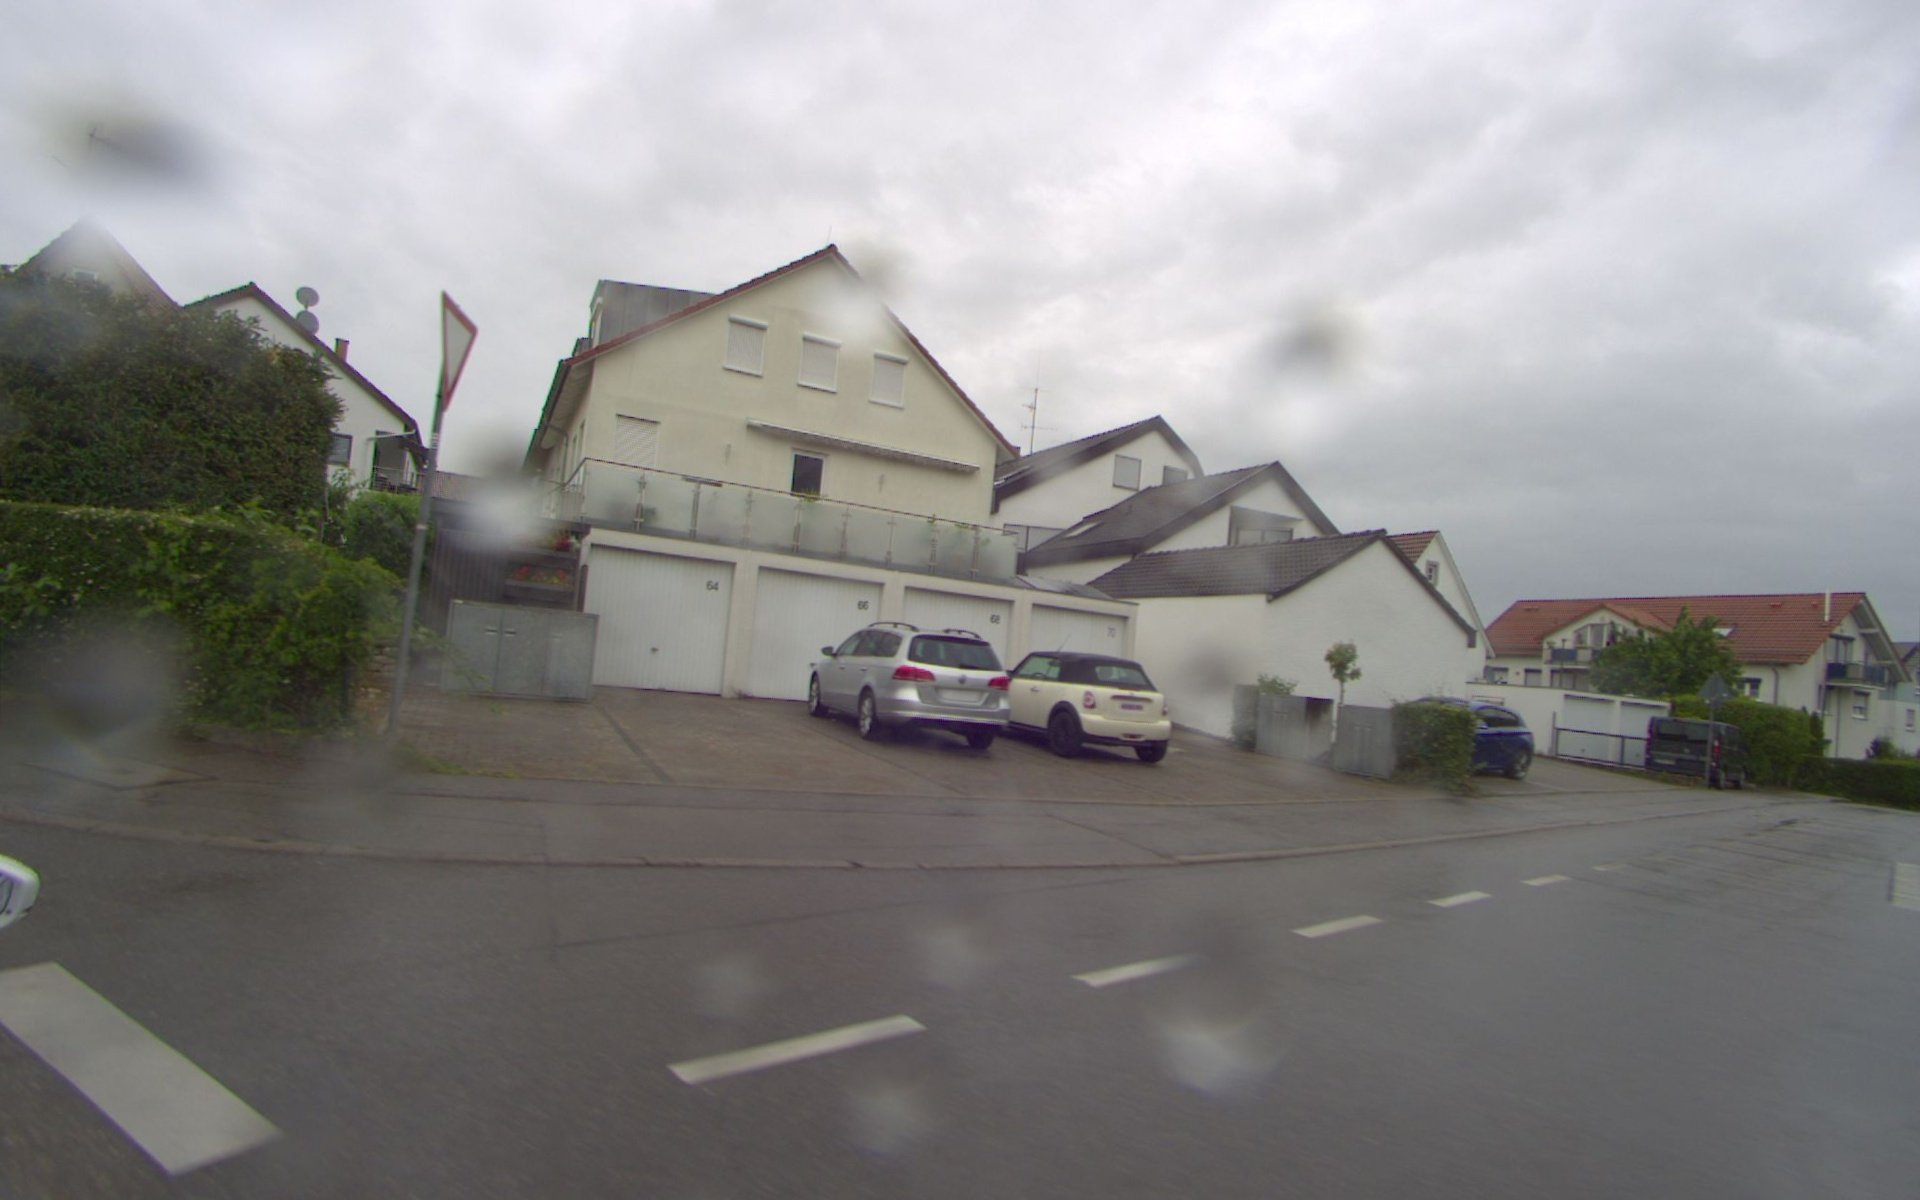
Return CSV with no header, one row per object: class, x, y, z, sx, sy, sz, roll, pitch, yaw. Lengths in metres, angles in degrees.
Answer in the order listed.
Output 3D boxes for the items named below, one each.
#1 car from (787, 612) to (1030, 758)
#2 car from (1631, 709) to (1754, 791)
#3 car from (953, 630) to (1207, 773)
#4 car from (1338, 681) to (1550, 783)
car,-0.895,1.077,13.995,1.973,1.415,4.128,7,0,-23
car,22.191,4.496,30.427,3.969,2.038,1.978,7,-1,-40
car,1.649,1.453,15.385,1.974,1.548,3.977,7,-1,-24
car,9.503,2.593,19.674,3.963,1.481,1.853,9,-2,-33
